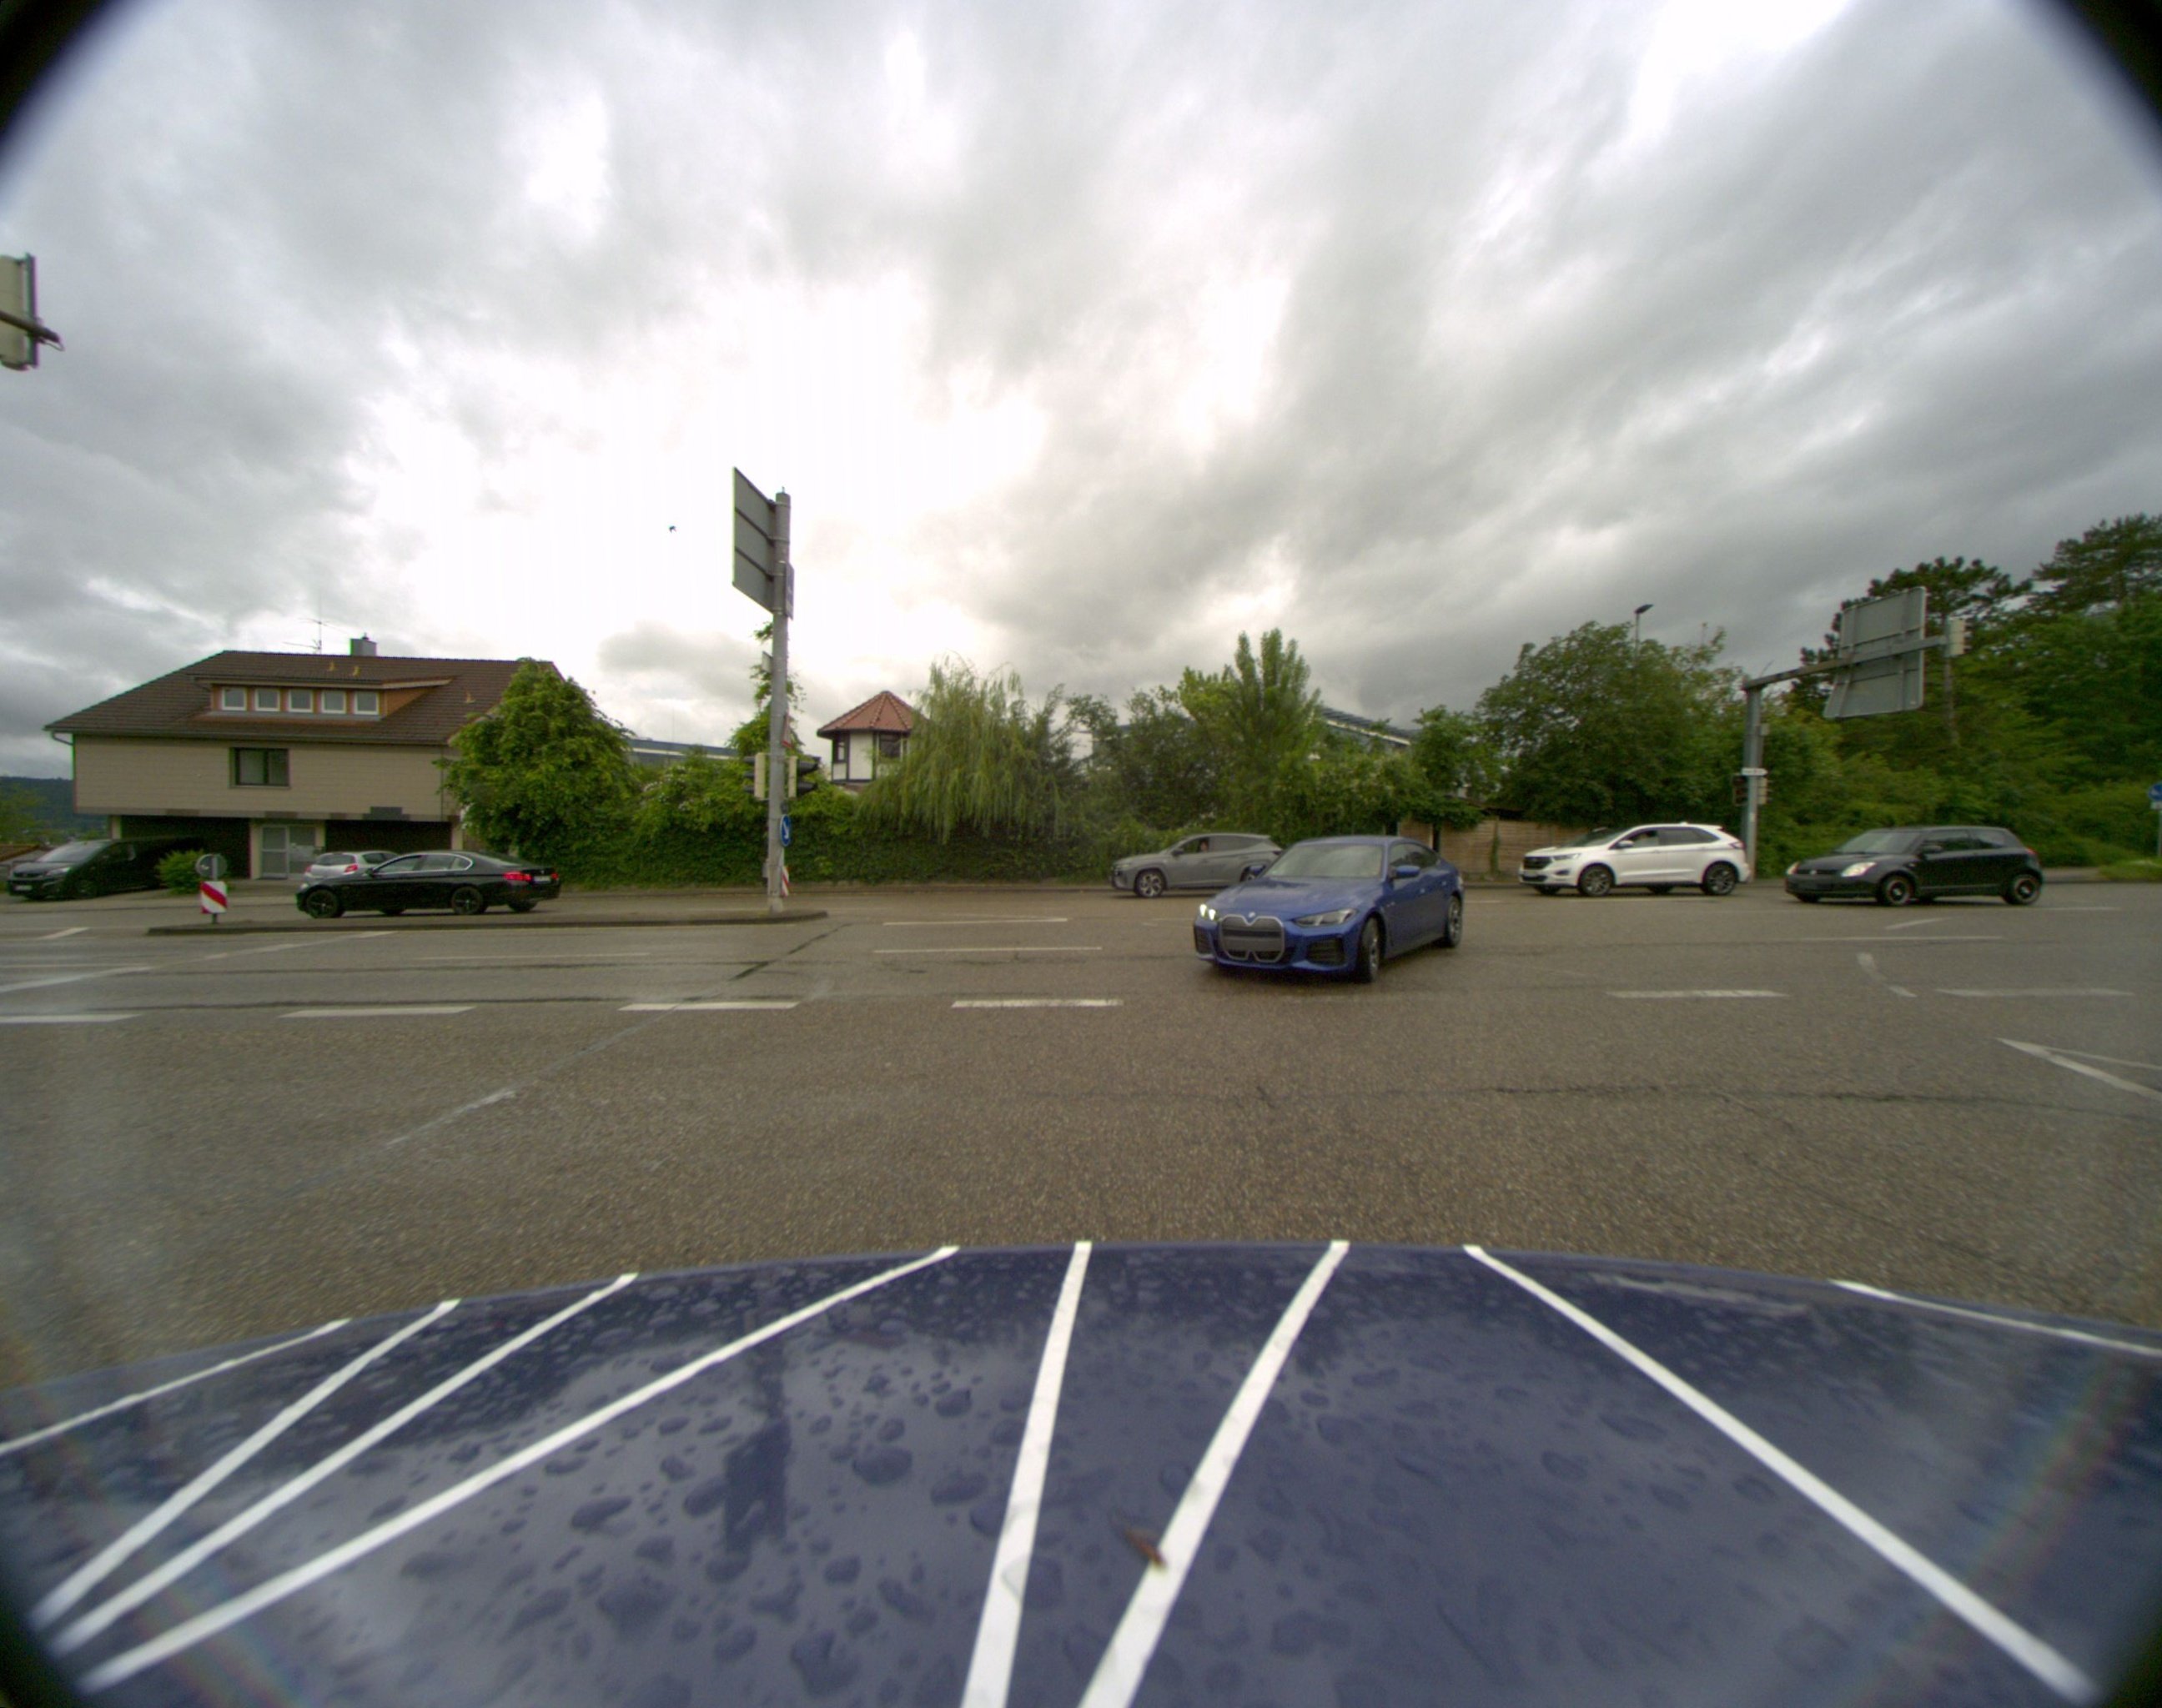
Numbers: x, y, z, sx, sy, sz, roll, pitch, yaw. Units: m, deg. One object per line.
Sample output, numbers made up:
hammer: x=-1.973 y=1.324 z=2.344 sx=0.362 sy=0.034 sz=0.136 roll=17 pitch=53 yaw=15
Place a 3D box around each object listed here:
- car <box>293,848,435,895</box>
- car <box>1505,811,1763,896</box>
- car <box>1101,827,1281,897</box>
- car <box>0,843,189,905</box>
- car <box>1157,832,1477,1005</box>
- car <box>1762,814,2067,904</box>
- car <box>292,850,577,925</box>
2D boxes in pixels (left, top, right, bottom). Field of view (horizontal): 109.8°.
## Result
car: x=-26.054 y=0.597 z=27.794 sx=1.770 sy=1.447 sz=3.571 roll=-1 pitch=3 yaw=-2
car: x=12.904 y=-0.038 z=17.948 sx=4.675 sy=1.780 sz=1.999 roll=-2 pitch=2 yaw=-1
car: x=2.802 y=0.175 z=19.931 sx=4.333 sy=1.630 sz=1.905 roll=-2 pitch=2 yaw=-5
car: x=-33.833 y=0.624 z=26.208 sx=1.770 sy=1.642 sz=3.568 roll=1 pitch=6 yaw=-2
car: x=3.017 y=0.523 z=9.073 sx=1.909 sy=1.488 sz=4.357 roll=1 pitch=3 yaw=43
car: x=15.777 y=0.063 z=14.539 sx=3.997 sy=1.510 sz=1.746 roll=-2 pitch=2 yaw=-2
car: x=-14.364 y=0.703 z=17.124 sx=4.600 sy=1.444 sz=1.999 roll=-1 pitch=2 yaw=-1
